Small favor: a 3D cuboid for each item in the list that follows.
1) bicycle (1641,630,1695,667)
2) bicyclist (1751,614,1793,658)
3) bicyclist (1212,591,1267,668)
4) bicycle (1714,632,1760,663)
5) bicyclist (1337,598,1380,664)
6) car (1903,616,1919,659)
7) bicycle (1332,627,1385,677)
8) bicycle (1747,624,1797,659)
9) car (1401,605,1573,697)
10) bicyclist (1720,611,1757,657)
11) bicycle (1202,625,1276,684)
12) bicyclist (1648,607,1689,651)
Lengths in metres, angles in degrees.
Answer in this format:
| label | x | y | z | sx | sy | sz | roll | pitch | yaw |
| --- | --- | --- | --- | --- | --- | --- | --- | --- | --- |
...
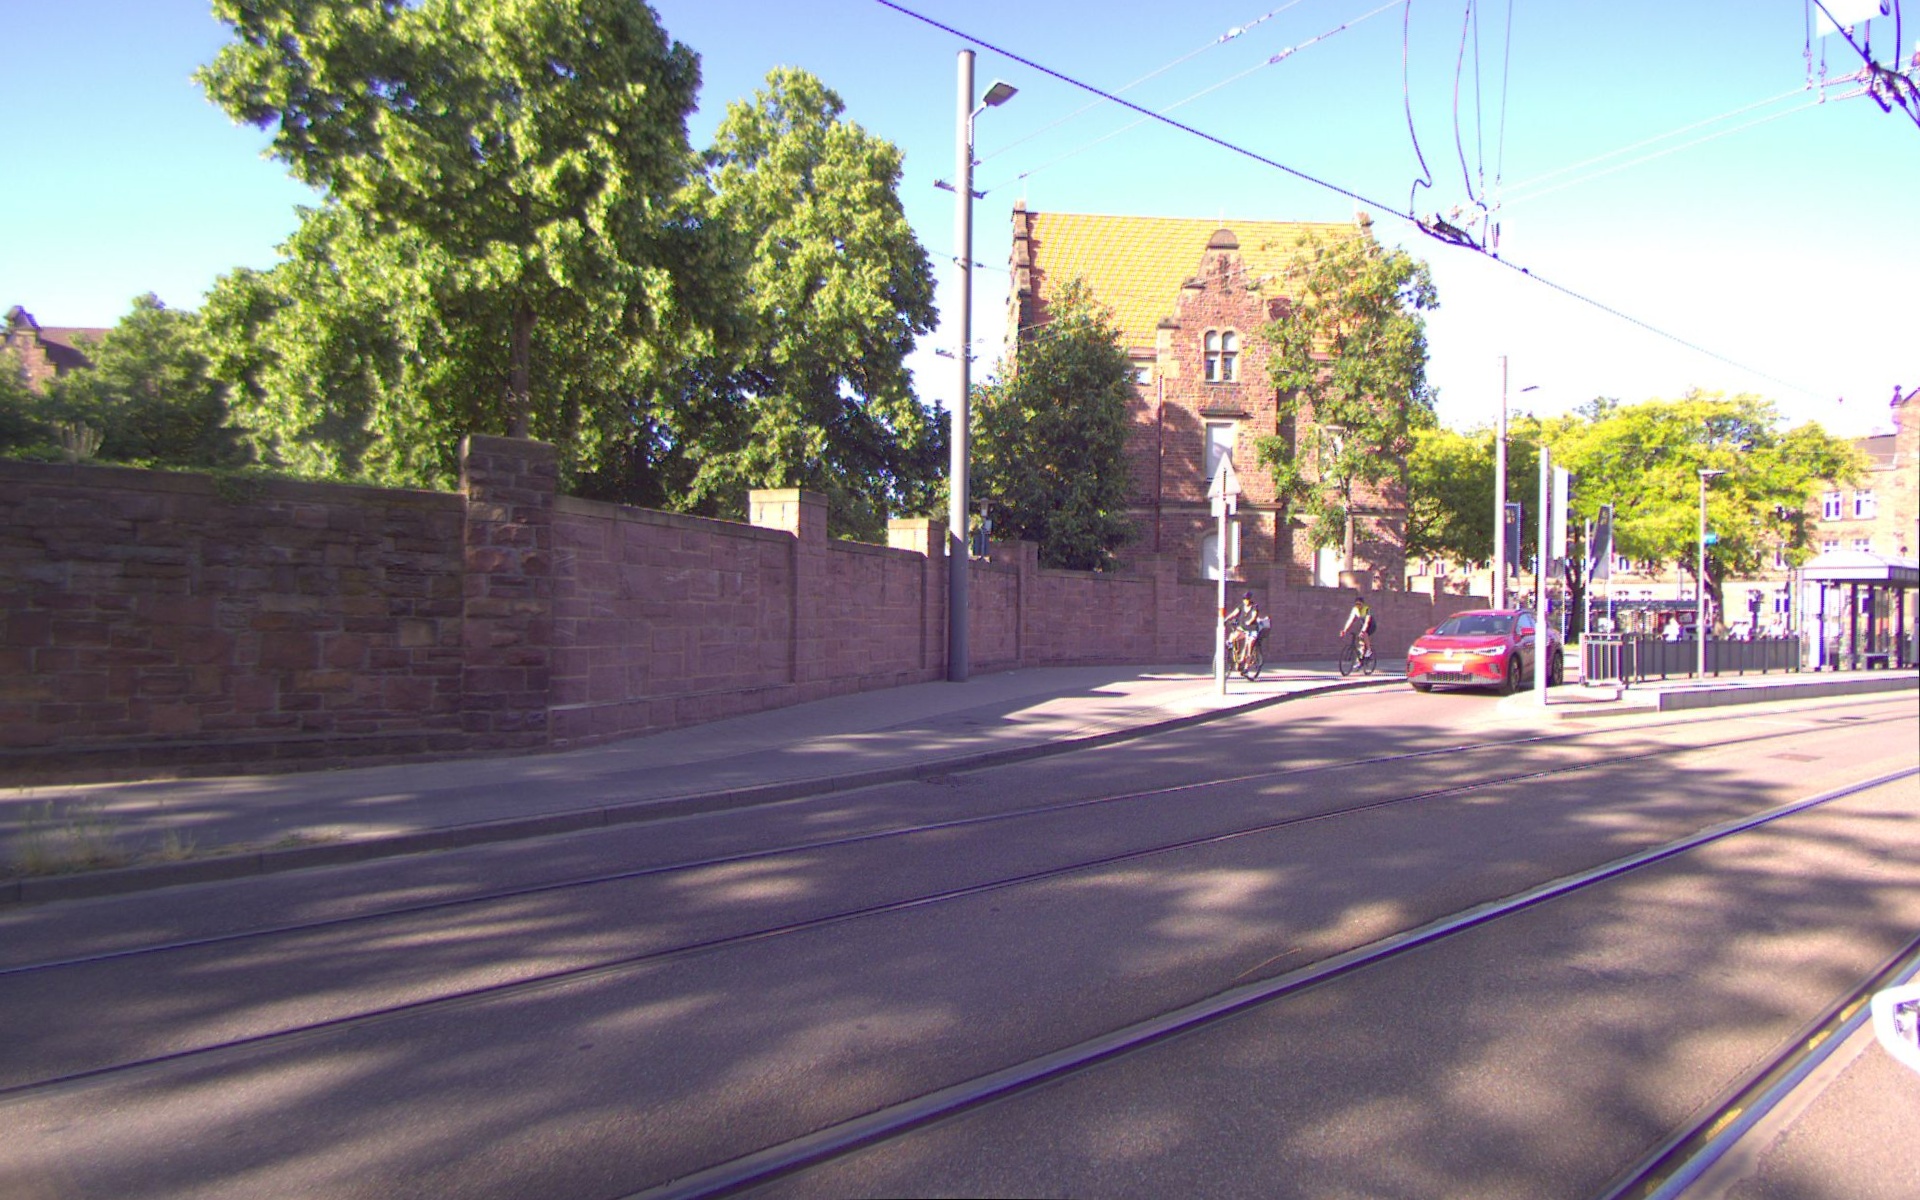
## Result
| label | x | y | z | sx | sy | sz | roll | pitch | yaw |
| --- | --- | --- | --- | --- | --- | --- | --- | --- | --- |
| bicycle | 24.523 | 1.660 | 34.775 | 1.931 | 1.214 | 0.811 | 2 | 0 | -32 |
| bicyclist | 29.831 | 1.314 | 36.908 | 1.332 | 1.557 | 0.757 | 1 | 0 | -31 |
| bicyclist | 5.583 | 0.581 | 20.051 | 0.645 | 1.478 | 1.147 | 1 | 0 | 38 |
| bicycle | 29.313 | 1.785 | 37.880 | 1.991 | 1.087 | 0.665 | 1 | 1 | -31 |
| bicyclist | 9.295 | 0.707 | 23.411 | 0.644 | 1.478 | 1.147 | 1 | 0 | 37 |
| car | 41.890 | 1.609 | 42.642 | 4.210 | 1.812 | 1.816 | 1 | -1 | -34 |
| bicycle | 9.293 | 1.180 | 23.417 | 0.676 | 1.103 | 1.848 | 1 | -1 | 37 |
| bicycle | 29.854 | 1.524 | 36.929 | 2.064 | 1.247 | 0.773 | 1 | 0 | -31 |
| car | 10.646 | 0.962 | 20.157 | 4.330 | 1.628 | 1.800 | 2 | -1 | -44 |
| bicyclist | 29.383 | 1.272 | 37.907 | 1.218 | 1.697 | 0.647 | 0 | 2 | -30 |
| bicycle | 5.592 | 1.050 | 20.073 | 0.676 | 1.103 | 2.055 | 1 | -1 | 38 |
| bicyclist | 24.538 | 0.999 | 34.775 | 1.177 | 1.490 | 0.752 | 2 | 0 | -32 |
